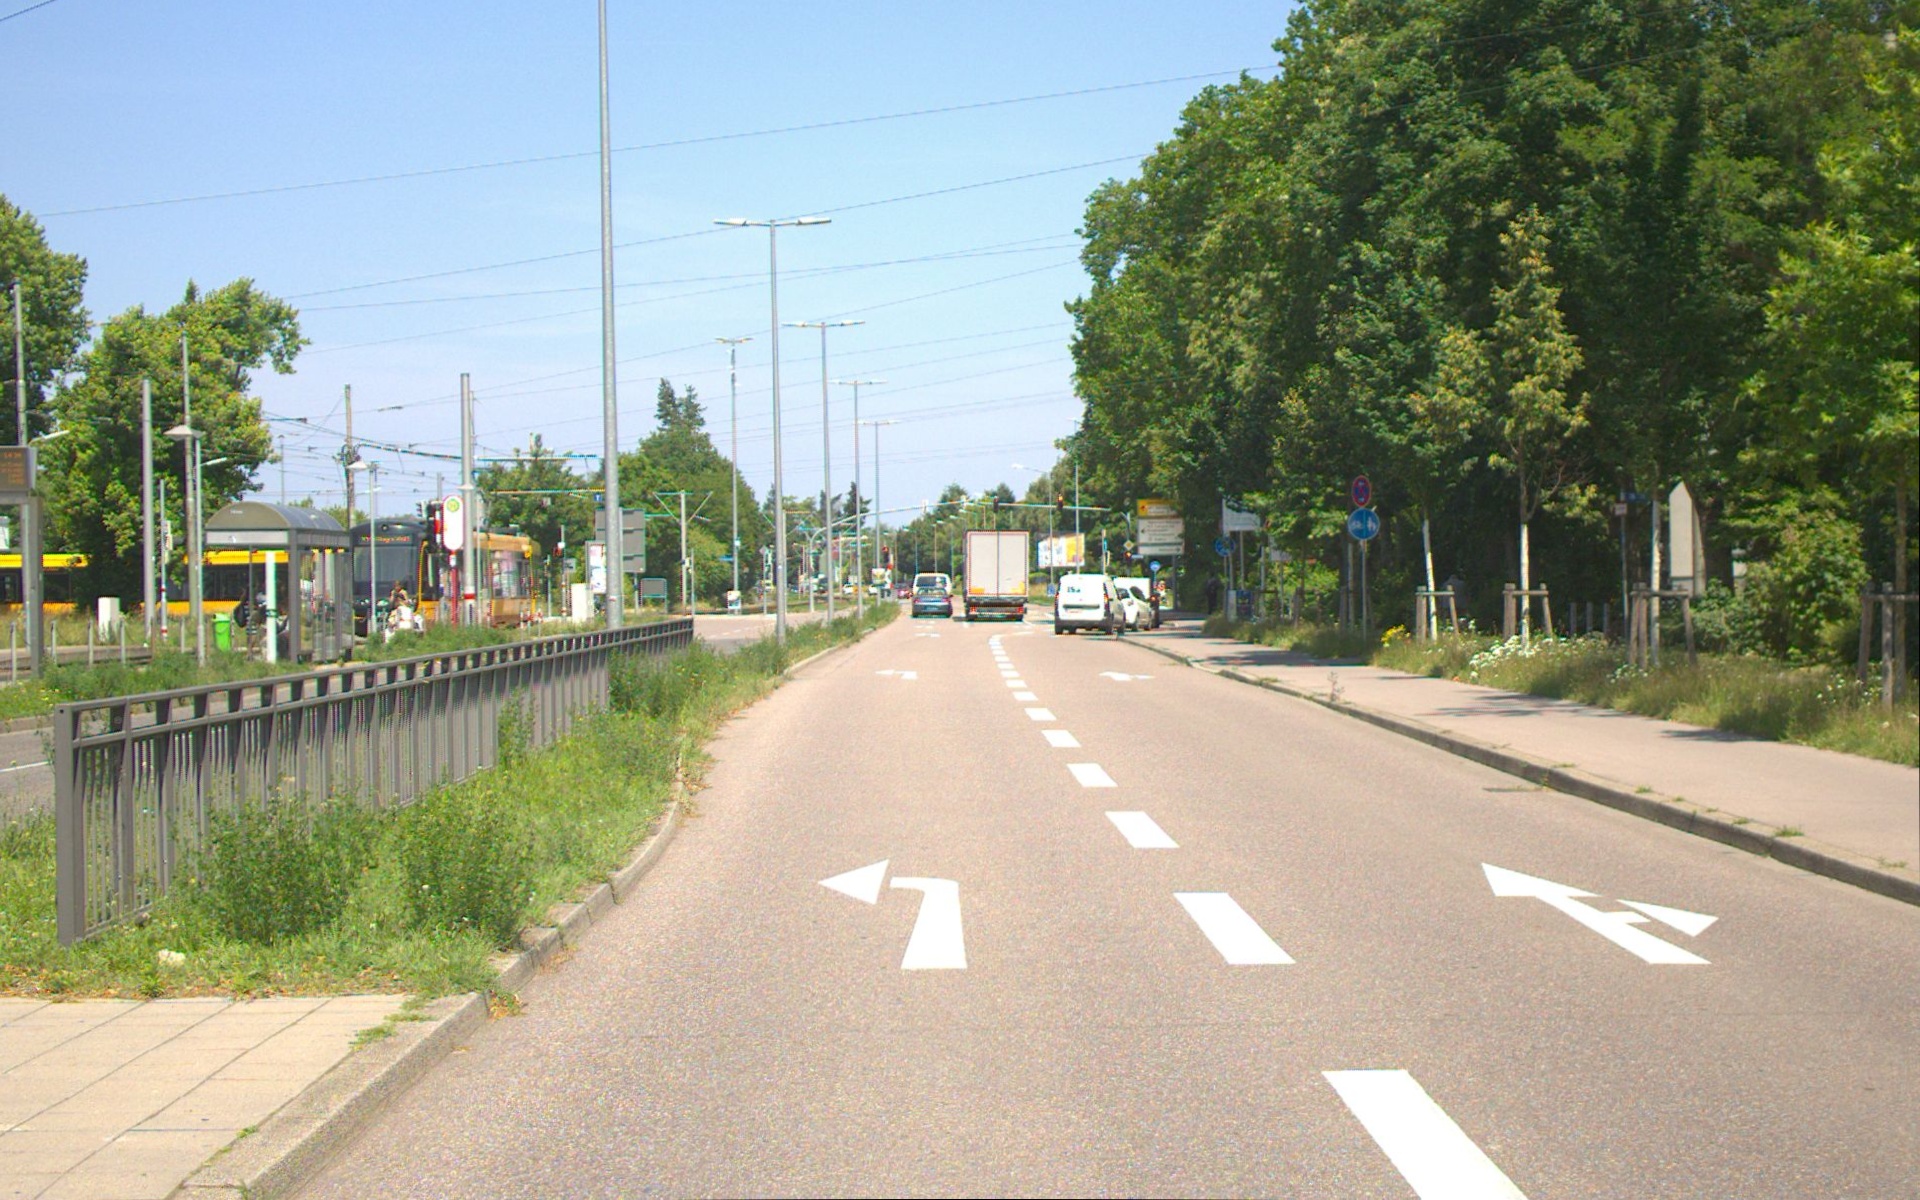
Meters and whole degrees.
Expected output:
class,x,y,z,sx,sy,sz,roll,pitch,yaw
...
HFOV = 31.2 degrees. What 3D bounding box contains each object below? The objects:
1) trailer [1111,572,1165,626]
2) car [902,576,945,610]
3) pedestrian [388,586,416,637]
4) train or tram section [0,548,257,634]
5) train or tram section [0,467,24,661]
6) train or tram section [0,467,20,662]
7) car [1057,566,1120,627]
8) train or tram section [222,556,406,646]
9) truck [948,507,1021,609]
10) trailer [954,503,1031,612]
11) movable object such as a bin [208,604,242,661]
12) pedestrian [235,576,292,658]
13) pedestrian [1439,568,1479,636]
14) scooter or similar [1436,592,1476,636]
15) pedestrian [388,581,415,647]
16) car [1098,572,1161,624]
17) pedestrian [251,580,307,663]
class,x,y,z,sx,sy,sz,roll,pitch,yaw
trailer,5.622,-0.038,108.875,1.468,1.663,2.856,1,0,-2
car,-1.654,-0.283,155.222,1.892,1.367,4.430,2,-1,-1
pedestrian,-13.122,0.275,80.848,0.580,1.185,0.536,1,0,-4
train or tram section,-36.969,-0.426,147.713,13.231,3.454,3.044,1,0,15
train or tram section,-20.657,-0.757,69.659,3.043,3.612,12.456,1,1,-14
train or tram section,-19.062,-0.621,58.061,3.043,3.612,13.899,1,1,-2
car,3.855,-0.120,102.556,1.710,1.741,4.427,1,1,4
train or tram section,-26.503,-0.036,140.373,3.036,3.454,12.751,1,1,-31
truck,1.044,-1.896,152.791,2.827,4.329,8.285,1,1,-2
trailer,1.334,-1.772,144.206,2.827,4.406,8.750,1,1,-2
movable object such as a bin,-12.748,0.559,59.608,0.481,0.974,0.645,-1,0,-4
pedestrian,-13.427,0.319,66.295,0.930,1.541,0.985,1,0,-2
pedestrian,10.303,0.038,71.017,0.708,1.393,0.763,1,0,1
scooter or similar,10.315,0.285,71.519,0.708,0.890,0.763,1,0,1
pedestrian,-13.357,0.328,82.230,0.534,1.560,0.582,1,0,-1
car,5.518,-0.088,112.497,1.699,1.648,4.399,1,1,-1
pedestrian,-12.892,0.400,65.074,0.874,1.541,1.026,1,0,-2
